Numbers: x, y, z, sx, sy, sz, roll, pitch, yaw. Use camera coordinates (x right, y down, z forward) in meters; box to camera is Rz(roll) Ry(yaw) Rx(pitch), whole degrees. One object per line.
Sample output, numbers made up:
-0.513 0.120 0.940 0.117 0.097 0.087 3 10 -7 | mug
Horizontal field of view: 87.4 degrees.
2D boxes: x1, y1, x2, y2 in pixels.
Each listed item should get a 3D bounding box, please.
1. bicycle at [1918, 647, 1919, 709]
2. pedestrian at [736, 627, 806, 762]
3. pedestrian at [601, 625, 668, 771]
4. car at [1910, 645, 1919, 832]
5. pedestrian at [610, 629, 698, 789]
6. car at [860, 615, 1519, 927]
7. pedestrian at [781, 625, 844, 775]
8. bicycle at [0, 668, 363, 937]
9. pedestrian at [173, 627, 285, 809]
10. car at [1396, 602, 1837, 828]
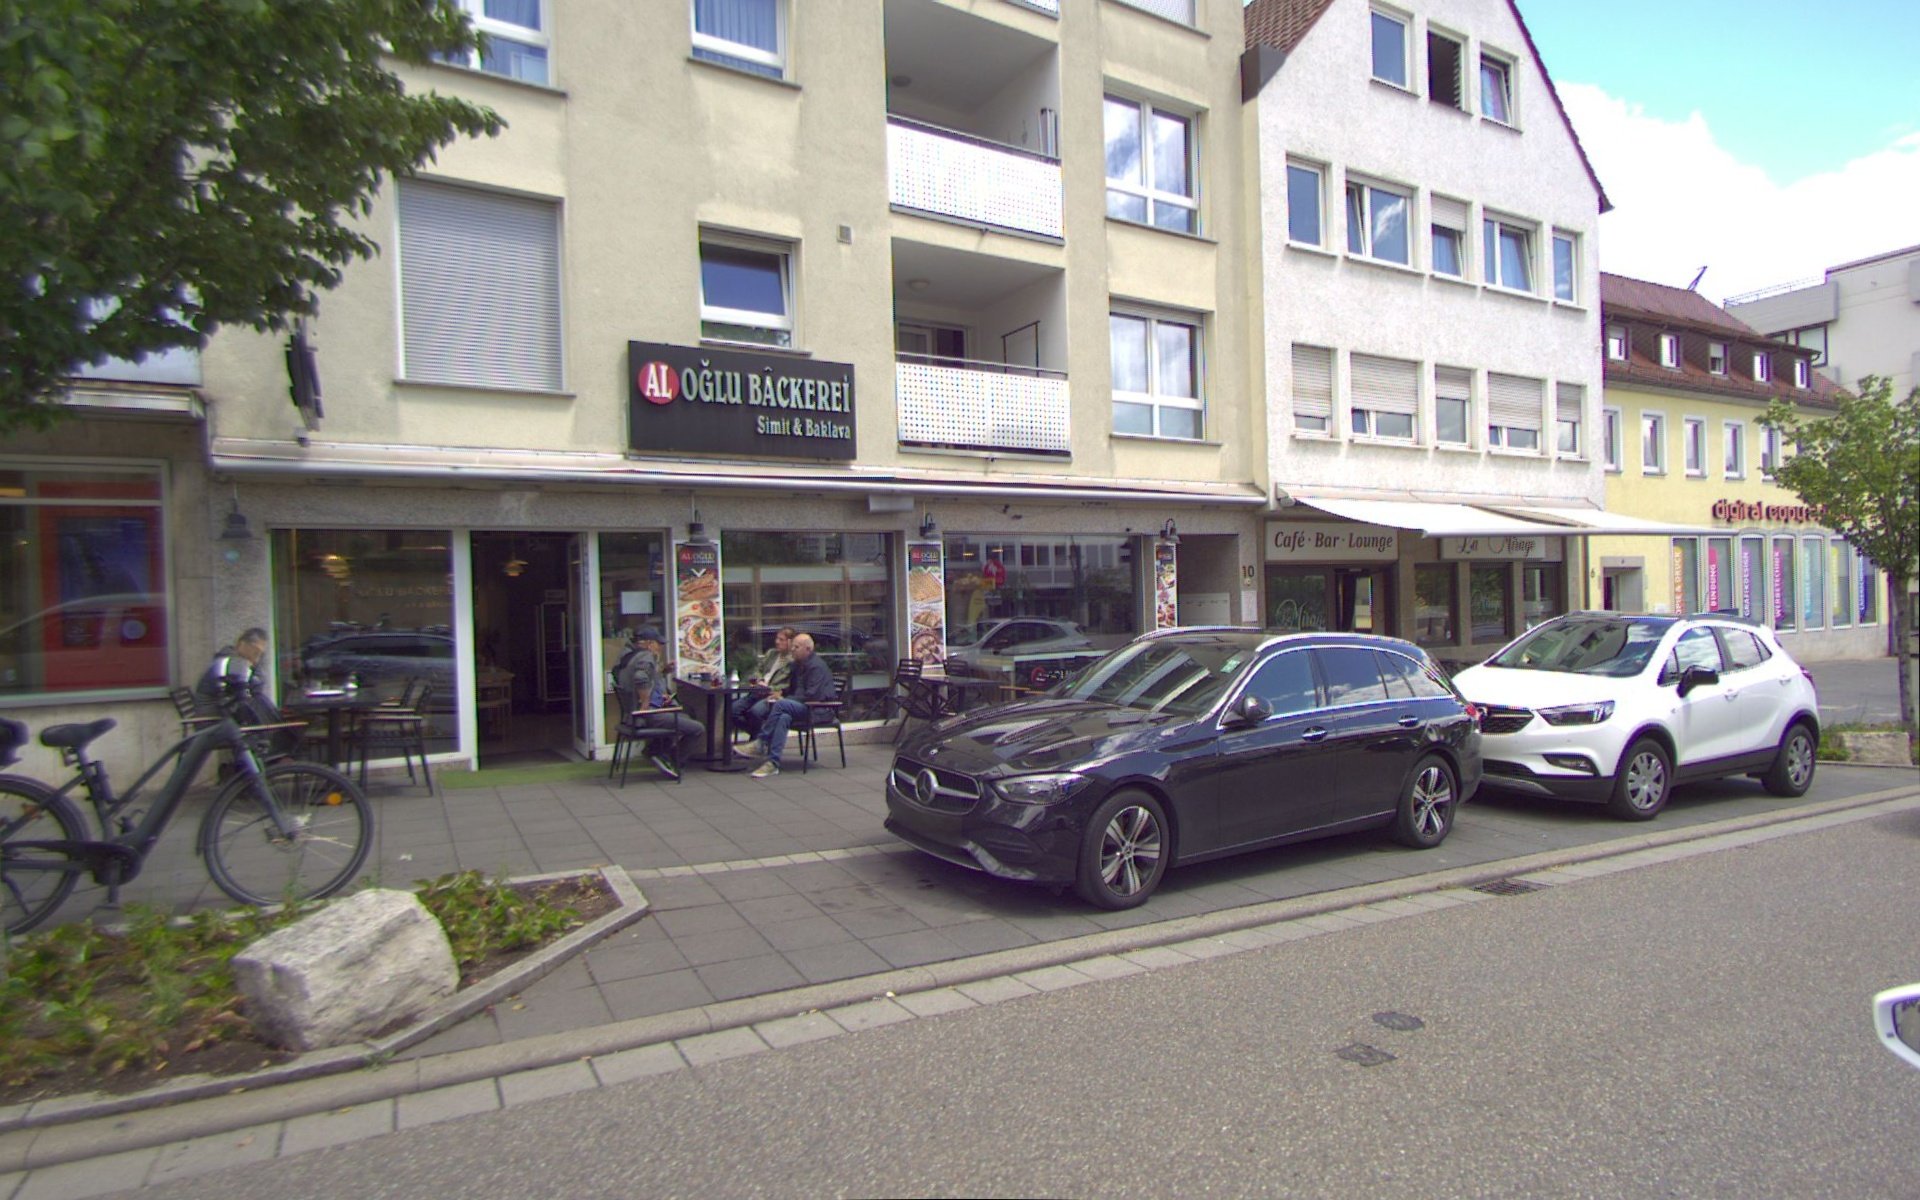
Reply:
15.113 1.235 14.618 1.623 1.102 0.413 -2 -2 25 | bicycle
-1.851 0.906 9.844 0.560 1.266 0.425 0 0 -31 | pedestrian
-2.939 0.863 9.061 0.494 1.266 0.393 0 0 -31 | pedestrian
9.145 1.045 7.793 3.586 1.406 1.599 1 -3 -30 | car
-2.597 0.893 8.514 0.592 1.284 0.547 1 -1 -31 | pedestrian
1.728 0.899 6.886 4.468 1.470 1.828 2 0 -34 | car
-1.355 0.893 9.205 0.449 1.317 0.419 0 0 -31 | pedestrian
-3.946 0.910 4.771 1.887 1.121 0.481 2 -1 -32 | bicycle
-5.396 0.838 7.446 0.592 1.263 0.592 1 -1 -31 | pedestrian
6.087 0.891 9.224 4.082 1.668 1.658 1 0 -29 | car
